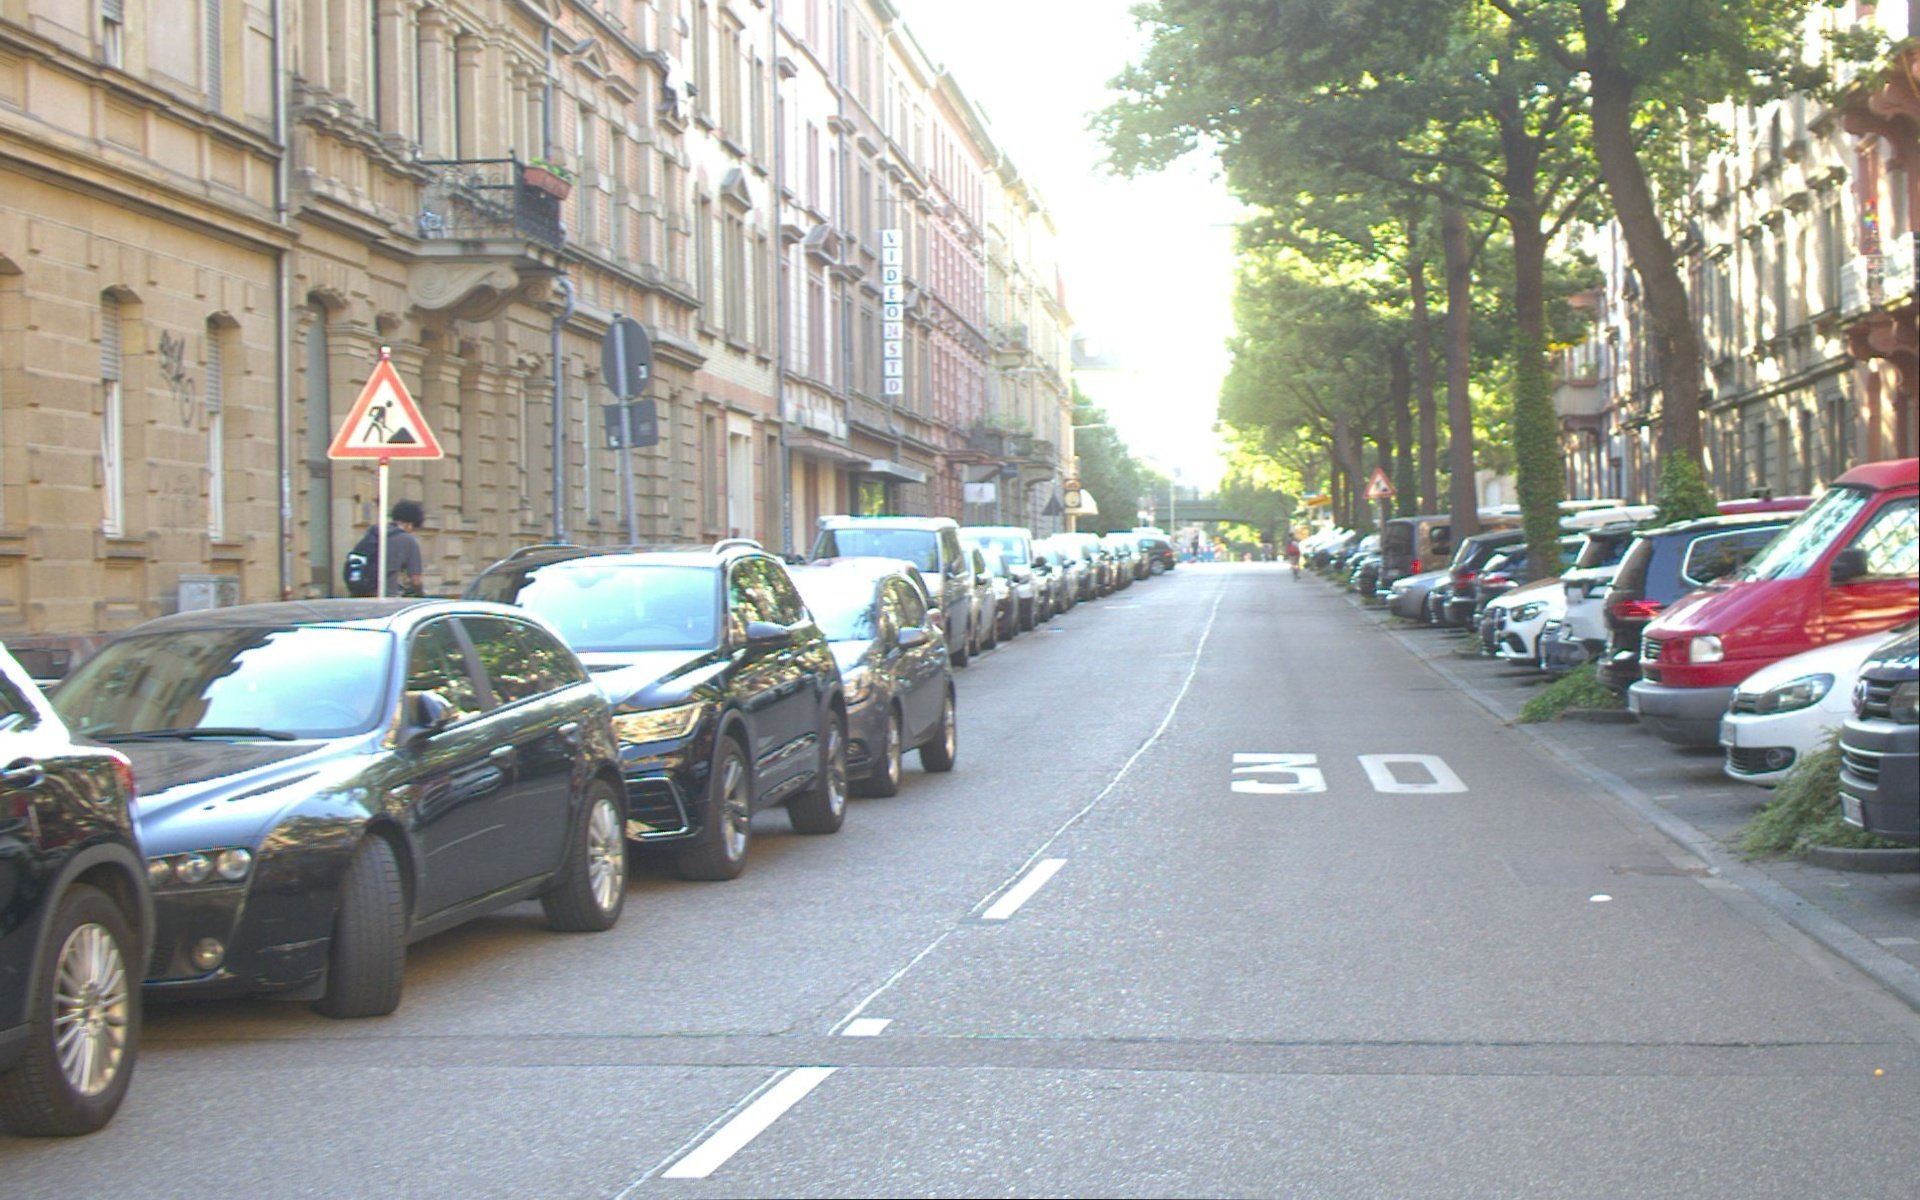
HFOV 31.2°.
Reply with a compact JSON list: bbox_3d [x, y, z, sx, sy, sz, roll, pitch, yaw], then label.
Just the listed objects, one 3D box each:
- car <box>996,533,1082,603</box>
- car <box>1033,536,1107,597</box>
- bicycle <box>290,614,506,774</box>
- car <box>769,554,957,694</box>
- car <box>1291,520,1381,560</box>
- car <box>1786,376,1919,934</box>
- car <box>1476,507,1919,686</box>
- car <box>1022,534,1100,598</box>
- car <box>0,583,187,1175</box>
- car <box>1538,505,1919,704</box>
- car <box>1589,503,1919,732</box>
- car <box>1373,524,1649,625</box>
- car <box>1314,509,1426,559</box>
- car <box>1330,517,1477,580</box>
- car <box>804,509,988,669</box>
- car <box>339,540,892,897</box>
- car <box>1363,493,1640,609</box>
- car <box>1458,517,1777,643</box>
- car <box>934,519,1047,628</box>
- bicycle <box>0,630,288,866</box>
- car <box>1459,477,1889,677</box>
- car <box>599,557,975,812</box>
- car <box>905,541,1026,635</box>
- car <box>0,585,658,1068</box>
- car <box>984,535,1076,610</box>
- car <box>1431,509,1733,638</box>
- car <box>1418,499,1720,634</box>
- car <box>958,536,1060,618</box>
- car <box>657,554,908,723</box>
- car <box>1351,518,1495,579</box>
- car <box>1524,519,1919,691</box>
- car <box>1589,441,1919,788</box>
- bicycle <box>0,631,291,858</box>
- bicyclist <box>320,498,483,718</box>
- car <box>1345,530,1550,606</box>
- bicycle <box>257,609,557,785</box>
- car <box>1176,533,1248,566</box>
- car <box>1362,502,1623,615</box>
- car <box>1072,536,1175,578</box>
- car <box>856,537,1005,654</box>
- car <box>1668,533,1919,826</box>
[{"bbox_3d":[1.816,-0.745,77.625,1.758,1.468,4.059,-2,1,3],"label":"car"},{"bbox_3d":[2.848,-0.881,88.592,1.758,1.468,4.059,-2,1,3],"label":"car"},{"bbox_3d":[-4.704,0.760,29.047,0.996,1.154,2.922,-2,2,6],"label":"bicycle"},{"bbox_3d":[-1.046,0.232,38.822,1.593,1.470,3.698,1,1,7],"label":"car"},{"bbox_3d":[16.783,-2.676,153.578,3.851,1.568,1.718,-3,1,4],"label":"car"},{"bbox_3d":[6.200,0.166,14.436,5.022,2.207,1.992,-1,0,4],"label":"car"},{"bbox_3d":[7.793,-0.055,36.542,4.345,1.551,1.850,-4,2,4],"label":"car"},{"bbox_3d":[2.486,-0.852,83.841,1.758,1.468,4.059,-2,1,3],"label":"car"},{"bbox_3d":[-3.468,0.750,7.963,1.759,1.482,4.137,-2,0,10],"label":"car"},{"bbox_3d":[7.489,0.011,31.726,4.011,1.622,1.805,-3,0,4],"label":"car"},{"bbox_3d":[7.125,0.078,26.888,4.188,1.622,1.837,-3,0,8],"label":"car"},{"bbox_3d":[9.090,-0.434,56.951,4.221,1.398,1.835,-3,1,0],"label":"car"},{"bbox_3d":[14.684,-2.369,123.340,3.851,1.568,1.718,-3,1,4],"label":"car"},{"bbox_3d":[12.706,-1.480,98.638,3.850,1.568,1.718,-3,1,-3],"label":"car"},{"bbox_3d":[-0.760,-0.188,44.492,1.832,1.936,5.259,1,1,5],"label":"car"},{"bbox_3d":[-1.663,0.521,18.285,1.759,1.594,4.549,-2,1,9],"label":"car"},{"bbox_3d":[10.395,-0.947,66.237,5.058,1.919,1.835,-3,1,5],"label":"car"},{"bbox_3d":[8.850,-0.271,46.518,4.011,1.462,1.733,-3,0,5],"label":"car"},{"bbox_3d":[0.581,-0.511,61.919,1.758,1.835,4.529,-2,1,3],"label":"car"},{"bbox_3d":[-4.320,0.719,17.056,1.868,1.124,0.528,0,0,8],"label":"bicycle"},{"bbox_3d":[8.057,-0.286,39.088,4.444,1.917,1.850,-4,2,3],"label":"car"},{"bbox_3d":[-1.073,0.505,23.372,1.759,1.496,4.059,-2,1,8],"label":"car"},{"bbox_3d":[0.129,-0.222,56.939,1.759,1.462,4.000,1,1,3],"label":"car"},{"bbox_3d":[-2.626,0.719,13.048,1.759,1.447,4.548,-2,0,10],"label":"car"},{"bbox_3d":[1.508,-0.604,72.766,1.758,1.468,4.059,-2,1,3],"label":"car"},{"bbox_3d":[8.817,-0.375,48.995,4.011,1.601,1.733,-3,0,5],"label":"car"},{"bbox_3d":[9.140,-0.519,51.843,4.221,1.770,1.835,-3,1,4],"label":"car"},{"bbox_3d":[0.975,-0.468,66.690,1.758,1.468,4.059,-2,1,3],"label":"car"},{"bbox_3d":[-1.704,0.337,34.297,1.759,1.496,4.059,-2,1,7],"label":"car"},{"bbox_3d":[13.586,-1.511,100.973,3.850,1.568,1.718,-3,1,-3],"label":"car"},{"bbox_3d":[7.753,0.032,34.165,4.011,1.429,1.794,-4,0,5],"label":"car"},{"bbox_3d":[6.544,0.004,21.888,4.675,2.026,1.879,-3,0,2],"label":"car"},{"bbox_3d":[-4.434,0.731,17.699,1.868,1.124,0.528,0,0,8],"label":"bicycle"},{"bbox_3d":[-4.706,0.049,29.041,0.996,1.783,1.207,-2,1,7],"label":"bicyclist"},{"bbox_3d":[9.777,-0.657,69.171,3.850,1.289,1.718,-3,1,2],"label":"car"},{"bbox_3d":[-3.615,0.626,22.530,1.867,1.124,0.528,0,0,5],"label":"bicycle"},{"bbox_3d":[14.653,-2.939,199.782,3.989,1.853,1.750,0,1,13],"label":"car"},{"bbox_3d":[9.674,-0.757,62.554,4.220,1.788,1.835,-3,1,-14],"label":"car"},{"bbox_3d":[6.254,-1.628,131.194,1.998,1.481,3.991,-2,-1,37],"label":"car"},{"bbox_3d":[-0.390,-0.100,50.305,1.754,1.603,4.383,1,1,5],"label":"car"},{"bbox_3d":[6.142,0.339,19.102,4.054,1.505,1.878,-3,0,5],"label":"car"}]
